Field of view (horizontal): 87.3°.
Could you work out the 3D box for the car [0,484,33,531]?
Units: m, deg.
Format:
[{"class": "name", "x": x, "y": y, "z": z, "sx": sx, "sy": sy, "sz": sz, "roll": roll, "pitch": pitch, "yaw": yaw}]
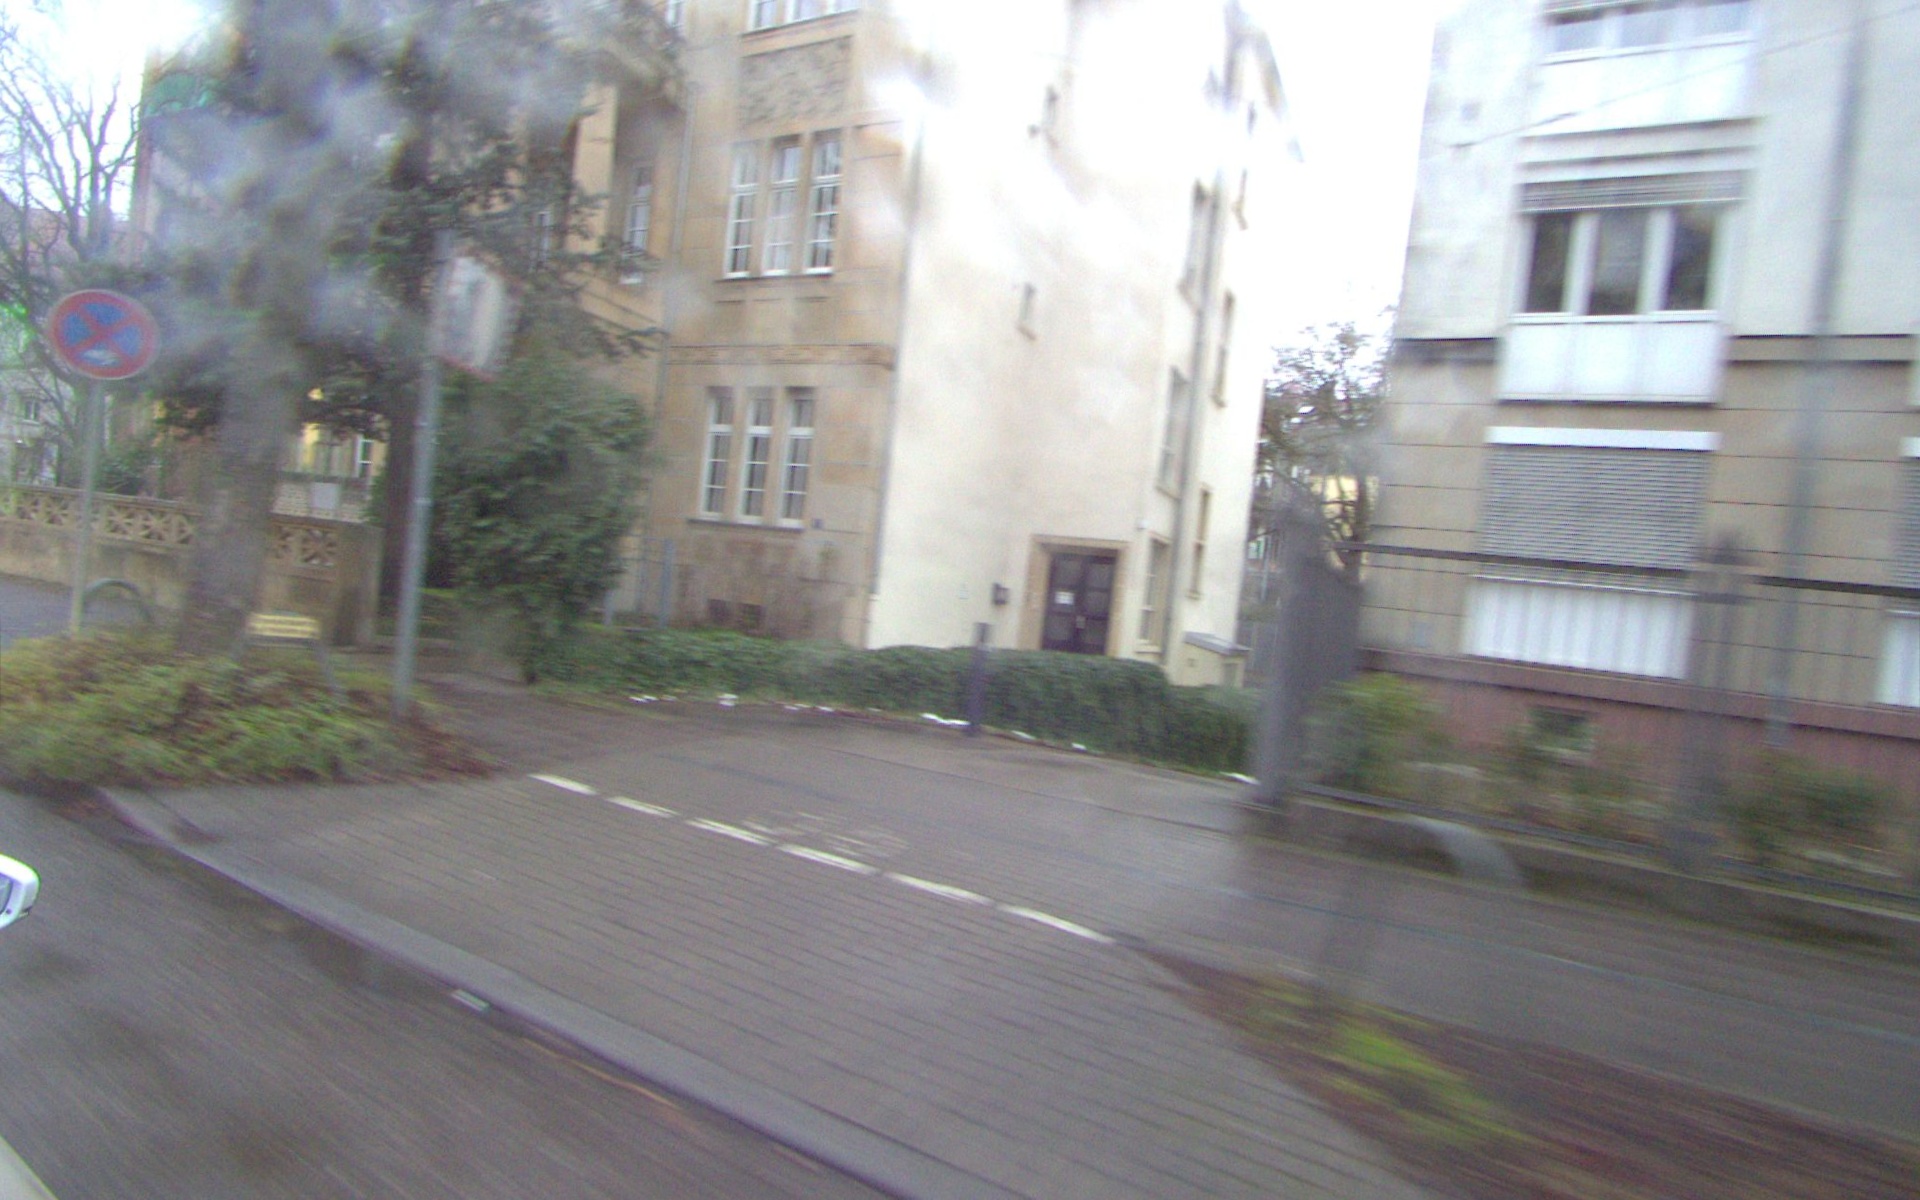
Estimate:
[{"class": "car", "x": -31.106, "y": -3.050, "z": 30.982, "sx": 1.641, "sy": 1.393, "sz": 3.994, "roll": 7, "pitch": 0, "yaw": -7}]
